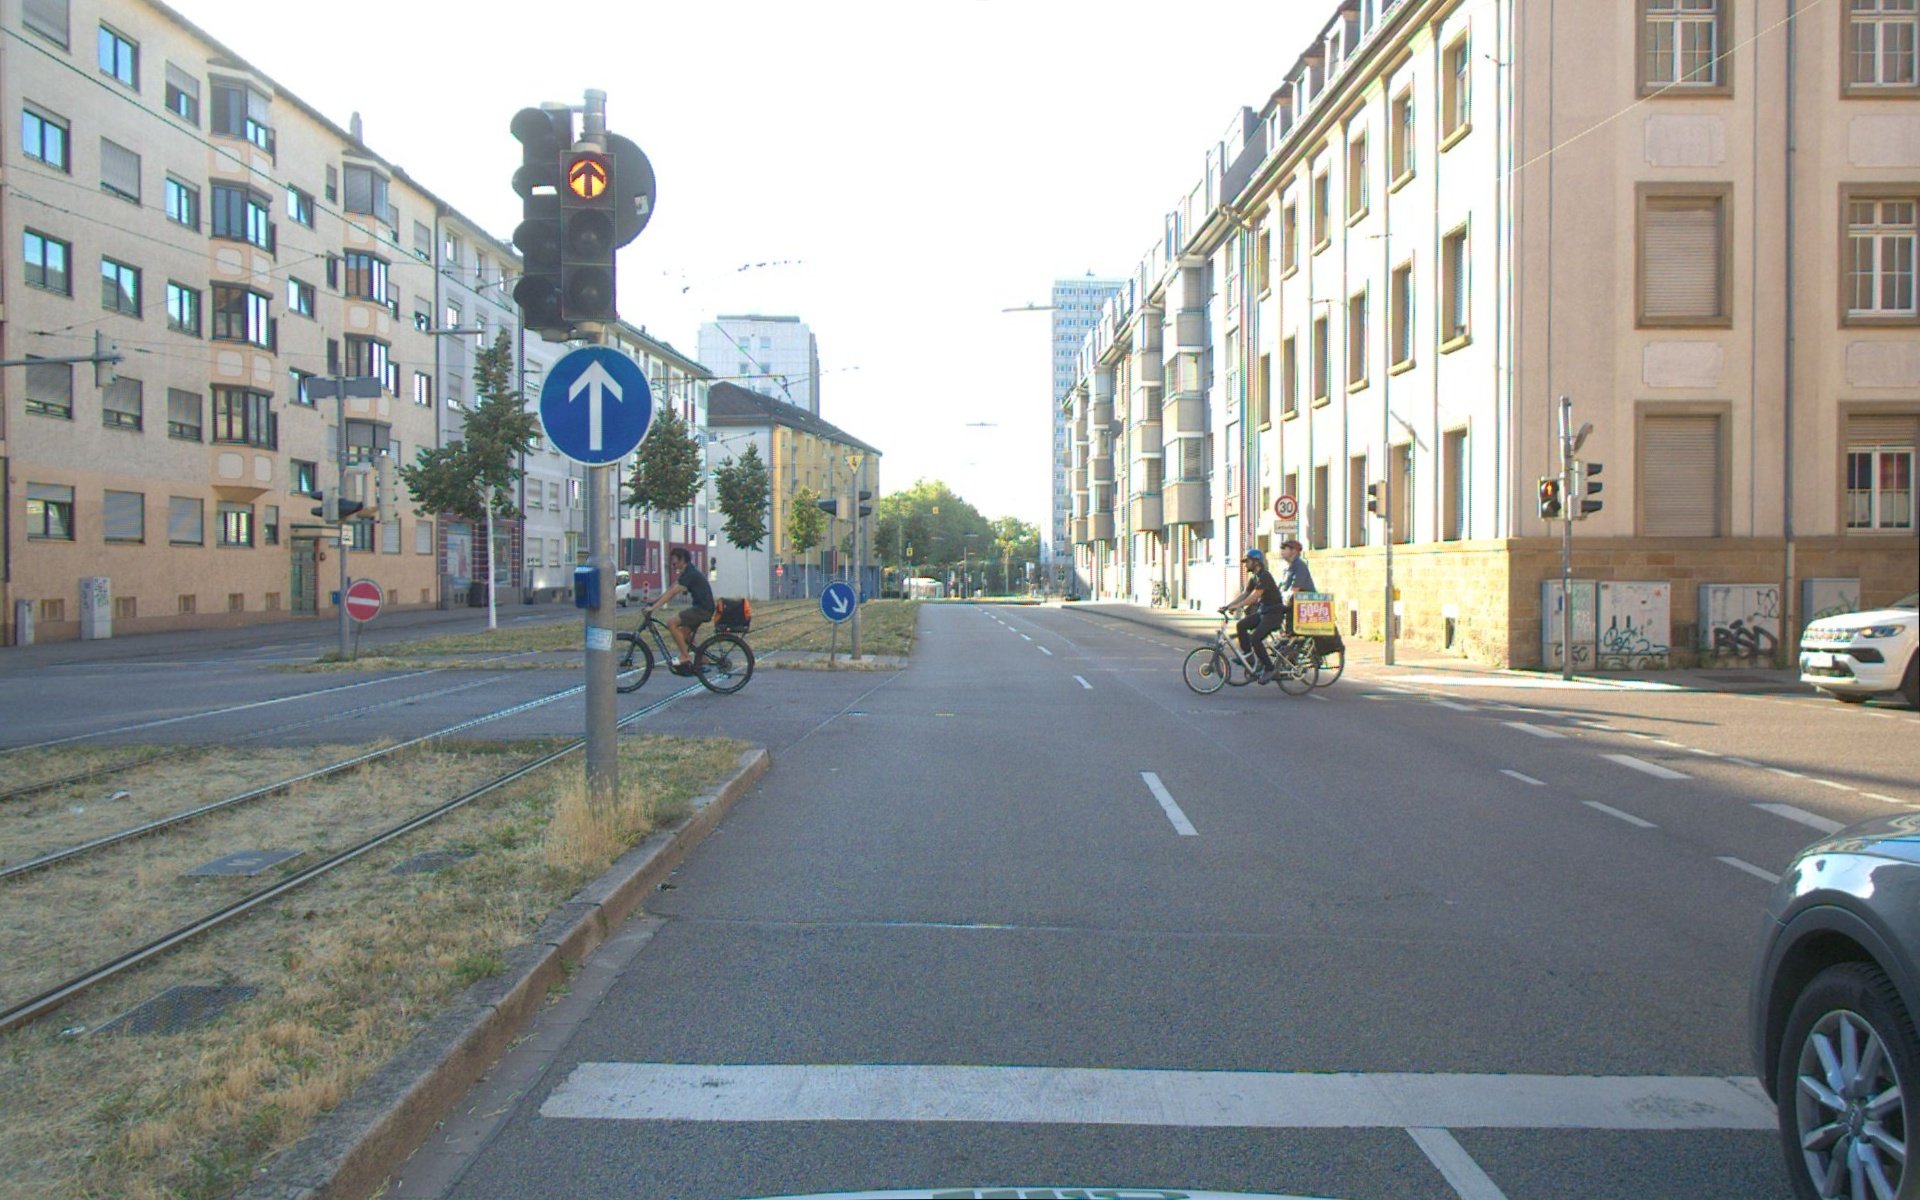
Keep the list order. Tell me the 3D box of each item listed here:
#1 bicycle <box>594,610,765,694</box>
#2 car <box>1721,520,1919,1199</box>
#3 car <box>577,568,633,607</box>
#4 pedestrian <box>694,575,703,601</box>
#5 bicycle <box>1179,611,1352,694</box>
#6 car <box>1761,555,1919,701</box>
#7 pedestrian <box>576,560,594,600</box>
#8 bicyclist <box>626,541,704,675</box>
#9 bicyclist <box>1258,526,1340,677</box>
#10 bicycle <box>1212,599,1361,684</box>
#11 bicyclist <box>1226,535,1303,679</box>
[{"bbox_3d":[-3.327,0.604,19.634,1.943,0.909,0.784,-1,0,-11],"label":"bicycle"},{"bbox_3d":[2.872,0.645,2.274,1.734,1.603,4.085,-1,1,-1],"label":"car"},{"bbox_3d":[-17.616,-0.611,82.186,1.774,1.829,4.245,2,0,1],"label":"car"},{"bbox_3d":[-17.197,-0.768,108.655,0.485,1.687,0.408,-1,0,-1],"label":"pedestrian"},{"bbox_3d":[3.866,0.658,21.010,2.031,0.975,0.746,2,0,-4],"label":"bicycle"},{"bbox_3d":[12.350,0.319,20.066,4.331,1.670,1.999,0,0,-4],"label":"car"},{"bbox_3d":[-19.378,-1.052,85.510,0.771,2.049,0.890,0,0,-4],"label":"pedestrian"},{"bbox_3d":[-3.492,0.088,19.606,0.887,1.553,0.646,0,0,-11],"label":"bicyclist"},{"bbox_3d":[4.640,0.012,22.680,0.940,2.023,0.672,-1,0,-3],"label":"bicyclist"},{"bbox_3d":[4.459,0.563,22.647,1.905,1.113,0.575,1,0,-4],"label":"bicycle"},{"bbox_3d":[3.867,0.085,21.042,0.777,1.784,0.720,2,0,-3],"label":"bicyclist"}]
